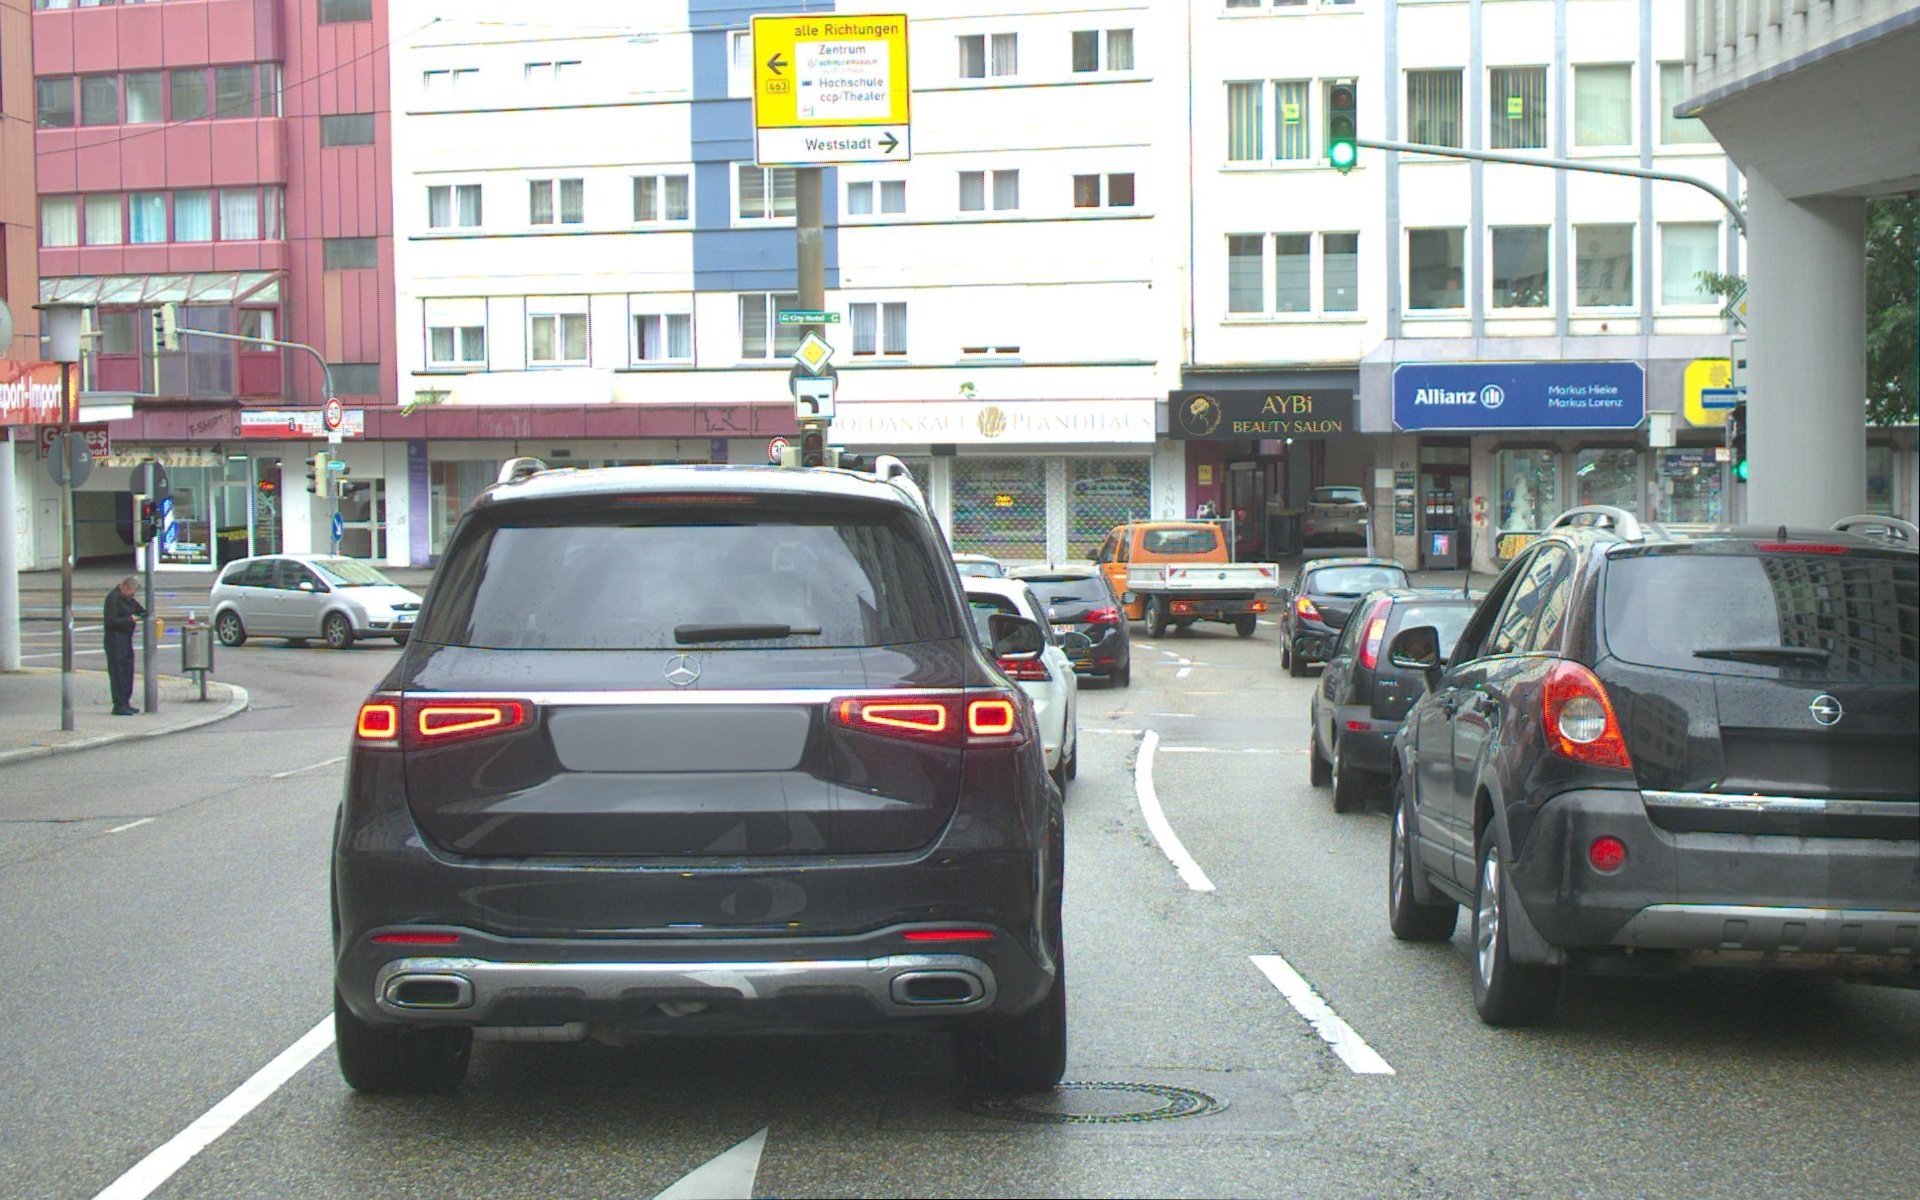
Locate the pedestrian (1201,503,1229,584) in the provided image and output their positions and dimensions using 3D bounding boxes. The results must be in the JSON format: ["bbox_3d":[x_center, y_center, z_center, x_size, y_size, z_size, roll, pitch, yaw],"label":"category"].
[{"bbox_3d":[5.562,-1.228,74.947,0.564,1.683,0.756,-1,7,6],"label":"pedestrian"}]

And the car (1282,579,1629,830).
[{"bbox_3d":[3.198,0.622,22.922,1.767,1.392,4.000,3,1,2],"label":"car"}]

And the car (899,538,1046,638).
[{"bbox_3d":[0.163,-0.173,56.628,1.924,1.510,4.663,2,-1,-5],"label":"car"}]

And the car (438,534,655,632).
[{"bbox_3d":[-8.506,-0.362,70.603,4.171,1.831,1.995,3,1,38],"label":"car"}]

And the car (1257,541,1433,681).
[{"bbox_3d":[4.859,0.130,43.955,1.823,1.653,4.495,1,0,1],"label":"car"}]

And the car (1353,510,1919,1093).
[{"bbox_3d":[2.659,0.586,12.526,1.897,1.689,4.505,3,1,0],"label":"car"}]

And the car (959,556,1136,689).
[{"bbox_3d":[1.003,0.235,41.532,1.993,1.481,4.237,-1,1,0],"label":"car"}]

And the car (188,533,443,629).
[{"bbox_3d":[-11.073,-0.325,59.032,4.169,1.587,1.738,0,2,31],"label":"car"}]

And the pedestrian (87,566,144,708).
[{"bbox_3d":[-10.186,0.436,41.490,0.554,1.691,0.624,0,1,-4],"label":"pedestrian"}]

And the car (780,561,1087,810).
[{"bbox_3d":[-0.089,0.501,23.419,1.873,1.489,4.400,1,1,2],"label":"car"}]

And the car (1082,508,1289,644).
[{"bbox_3d":[3.858,-0.429,59.993,2.242,2.220,5.430,1,1,-11],"label":"car"}]

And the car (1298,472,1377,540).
[{"bbox_3d":[9.536,-2.349,86.574,1.797,1.664,3.999,-1,1,9],"label":"car"}]

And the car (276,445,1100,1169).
[{"bbox_3d":[-0.753,0.485,10.946,2.038,1.793,4.663,1,1,-2],"label":"car"}]
